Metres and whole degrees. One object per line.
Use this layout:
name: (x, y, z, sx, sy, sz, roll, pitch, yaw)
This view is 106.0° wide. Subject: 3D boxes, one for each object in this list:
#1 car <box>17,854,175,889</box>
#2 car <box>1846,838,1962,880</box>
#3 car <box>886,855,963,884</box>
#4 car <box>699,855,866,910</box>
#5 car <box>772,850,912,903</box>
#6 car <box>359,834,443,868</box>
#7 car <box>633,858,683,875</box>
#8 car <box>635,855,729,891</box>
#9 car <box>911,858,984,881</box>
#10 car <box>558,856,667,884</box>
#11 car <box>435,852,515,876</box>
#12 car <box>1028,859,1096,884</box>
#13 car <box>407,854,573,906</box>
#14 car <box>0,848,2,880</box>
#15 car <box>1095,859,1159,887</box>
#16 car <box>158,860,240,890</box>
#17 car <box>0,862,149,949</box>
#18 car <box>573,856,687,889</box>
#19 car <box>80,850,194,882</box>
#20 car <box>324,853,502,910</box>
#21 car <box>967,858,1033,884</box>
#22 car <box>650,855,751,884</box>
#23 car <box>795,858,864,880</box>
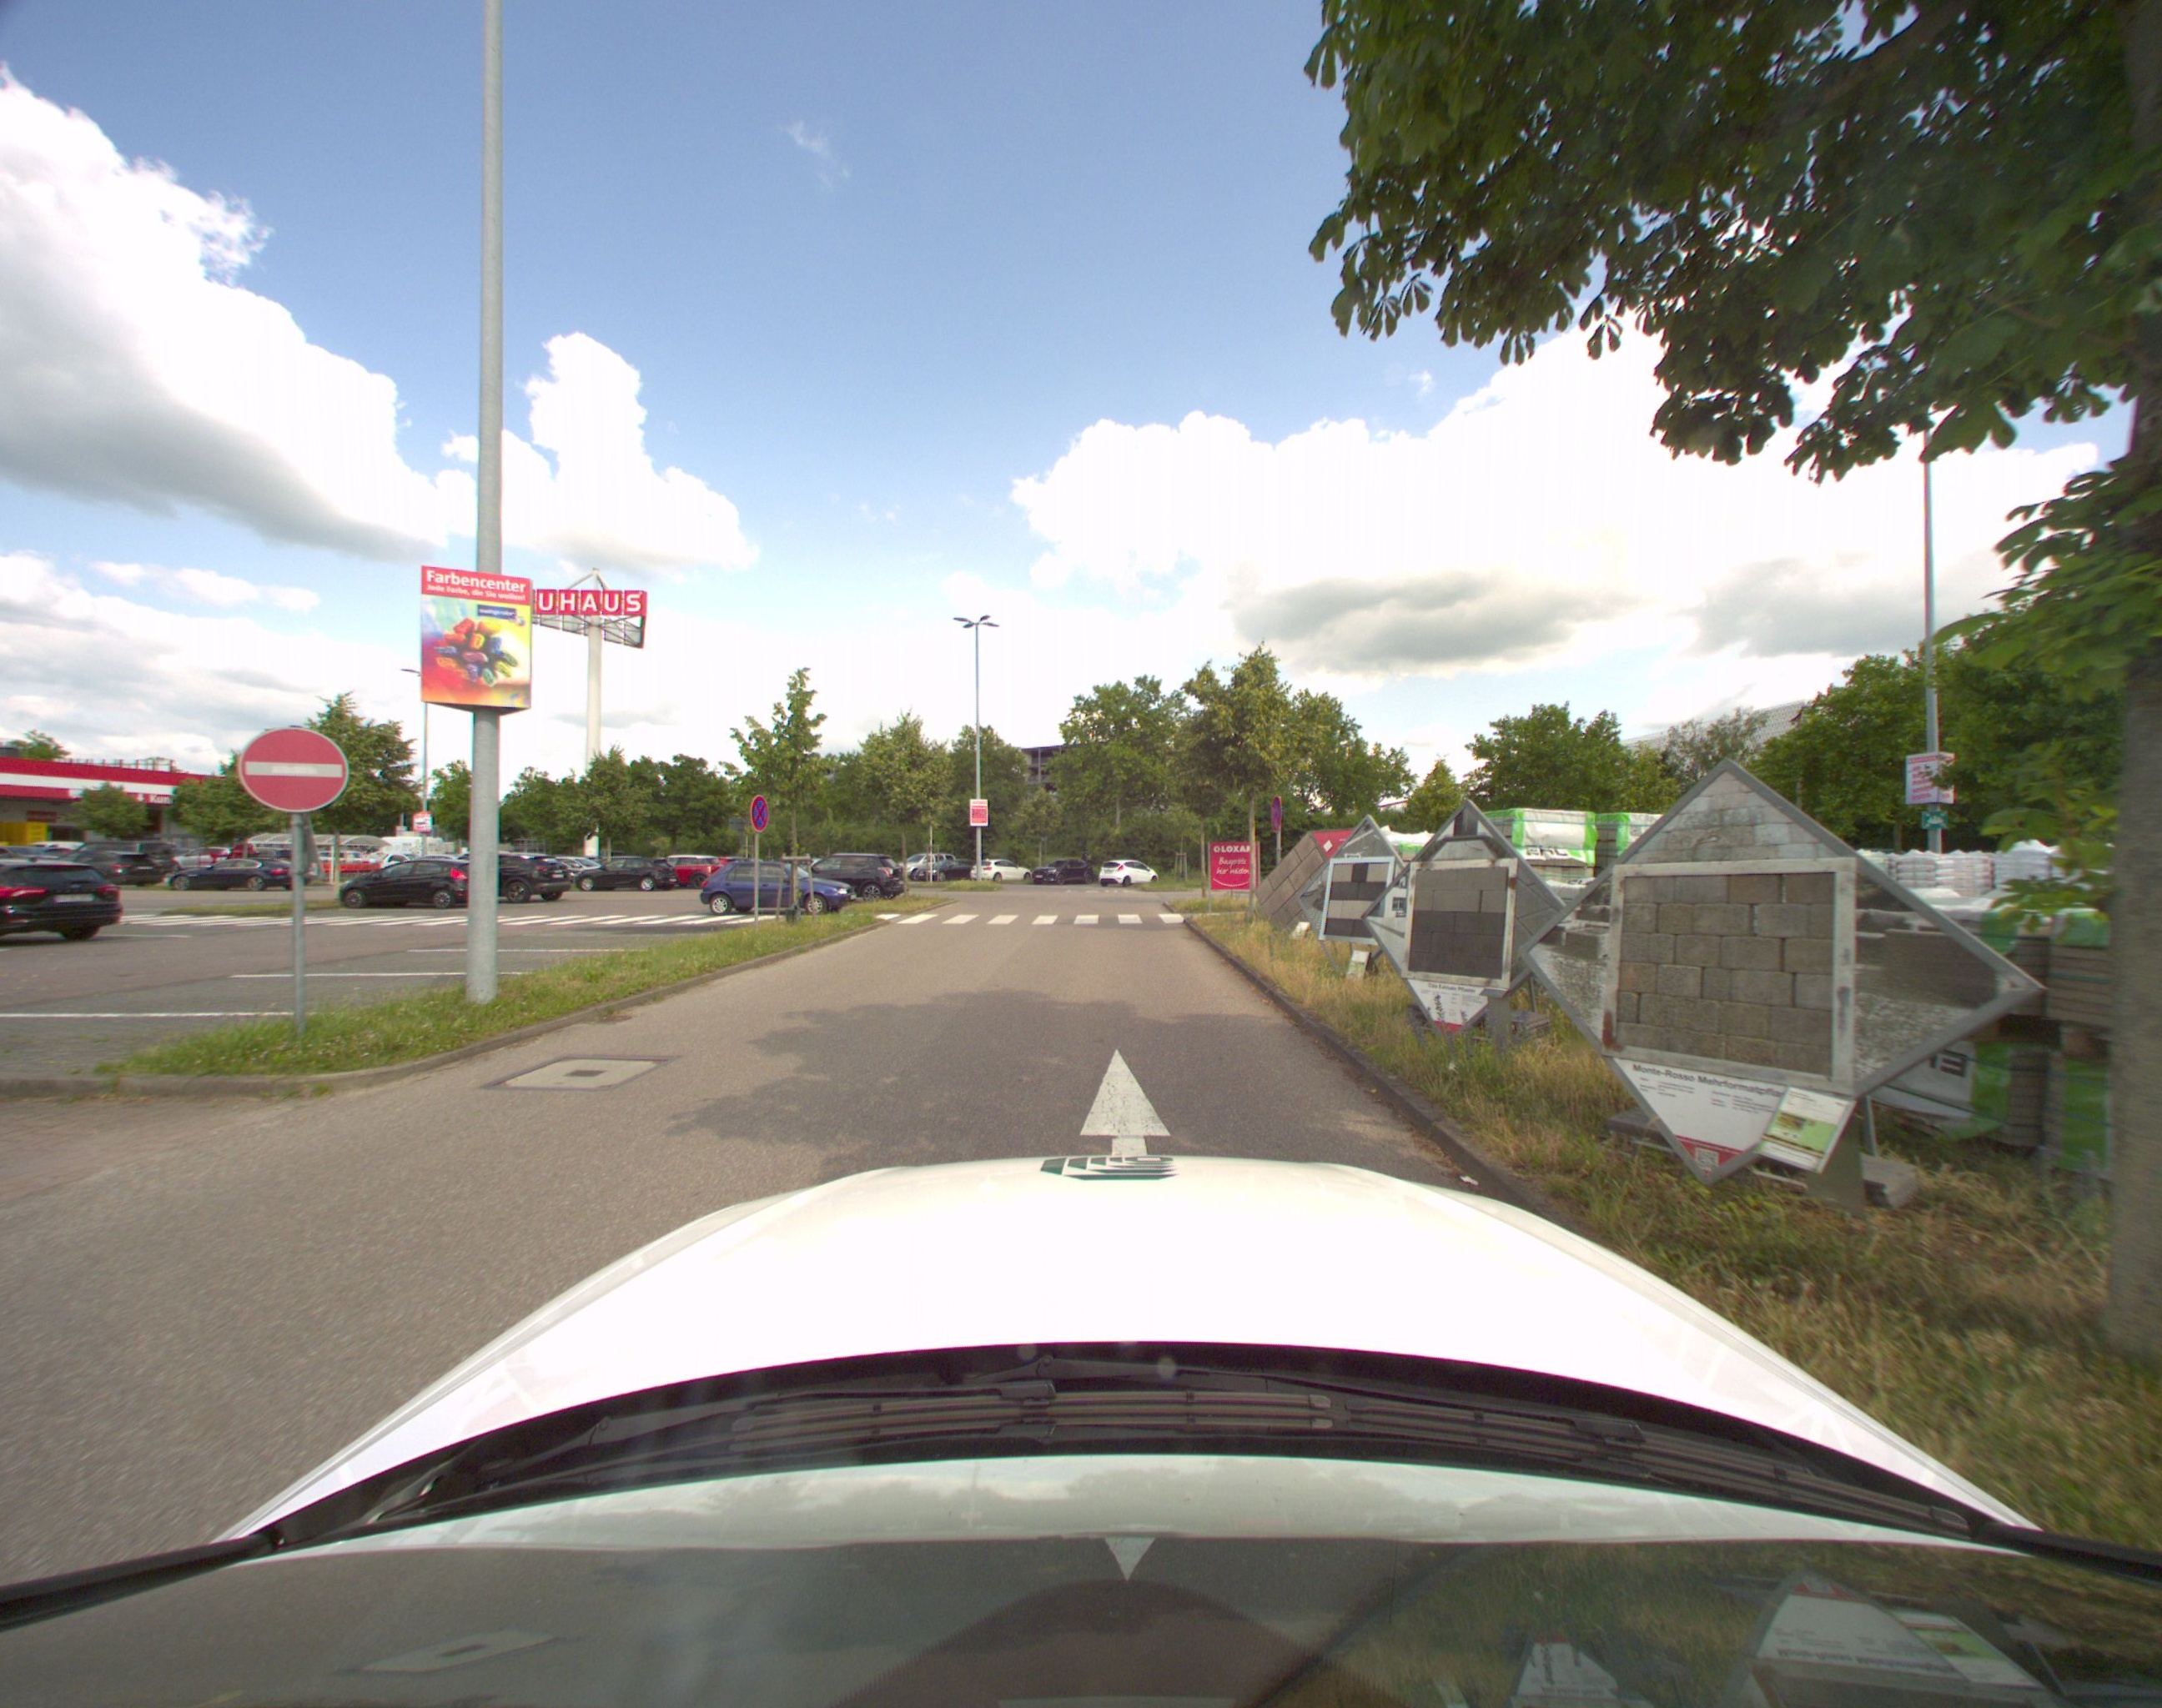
car: (-42.676, 0.754, 35.356, 4.387, 1.468, 2.000, 0, 0, 0)
car: (41.156, 0.224, 40.858, 3.949, 2.013, 2.012, 0, 0, 41)
car: (-10.454, 0.998, 54.818, 1.965, 1.842, 5.180, 0, 0, 35)
car: (-7.742, 0.718, 21.345, 3.737, 1.368, 1.621, 0, 0, 1)
car: (-7.652, 0.699, 26.301, 3.933, 1.624, 1.737, 0, 0, 3)
car: (-52.785, -0.243, 63.247, 4.696, 2.510, 2.053, 1, -1, 1)
car: (-38.237, 1.137, 73.622, 1.612, 1.468, 3.667, -2, -2, 36)
car: (-18.167, 0.840, 37.165, 3.425, 1.581, 1.709, 0, 0, -1)
car: (-8.649, 0.972, 53.146, 1.816, 1.451, 4.755, 0, 0, 37)
car: (-23.010, 0.791, 40.129, 4.255, 1.353, 1.893, 0, 0, -2)
car: (-41.421, 0.697, 55.723, 3.975, 1.596, 1.910, 0, 0, -1)
car: (-1.074, 0.984, 47.443, 1.711, 1.410, 4.270, 0, 0, 36)
car: (-19.138, 0.807, 26.495, 4.058, 1.624, 1.783, 0, 0, -1)
car: (-53.339, 0.463, 37.745, 3.973, 1.509, 2.000, 0, 0, 0)
car: (2.553, 1.005, 44.600, 1.649, 1.411, 3.579, 0, 0, 40)
car: (-53.437, 1.265, 49.367, 3.146, 1.743, 1.602, 0, 1, 0)
car: (-18.985, 0.846, 14.164, 3.336, 1.404, 1.810, 0, 0, -2)
car: (-19.209, 0.761, 34.772, 3.859, 1.369, 1.728, 0, 0, -1)
car: (-52.943, 0.655, 45.736, 3.976, 1.778, 1.999, 0, 0, -2)
car: (-19.724, 0.792, 24.181, 3.688, 1.624, 1.781, 0, 0, -4)
car: (-4.940, 1.018, 50.127, 1.668, 1.510, 4.107, -1, -1, 39)
car: (-18.545, 0.747, 39.771, 4.063, 1.399, 1.766, 0, 0, -1)
car: (-18.248, 1.078, 59.204, 1.761, 1.504, 4.684, 0, 0, 35)
